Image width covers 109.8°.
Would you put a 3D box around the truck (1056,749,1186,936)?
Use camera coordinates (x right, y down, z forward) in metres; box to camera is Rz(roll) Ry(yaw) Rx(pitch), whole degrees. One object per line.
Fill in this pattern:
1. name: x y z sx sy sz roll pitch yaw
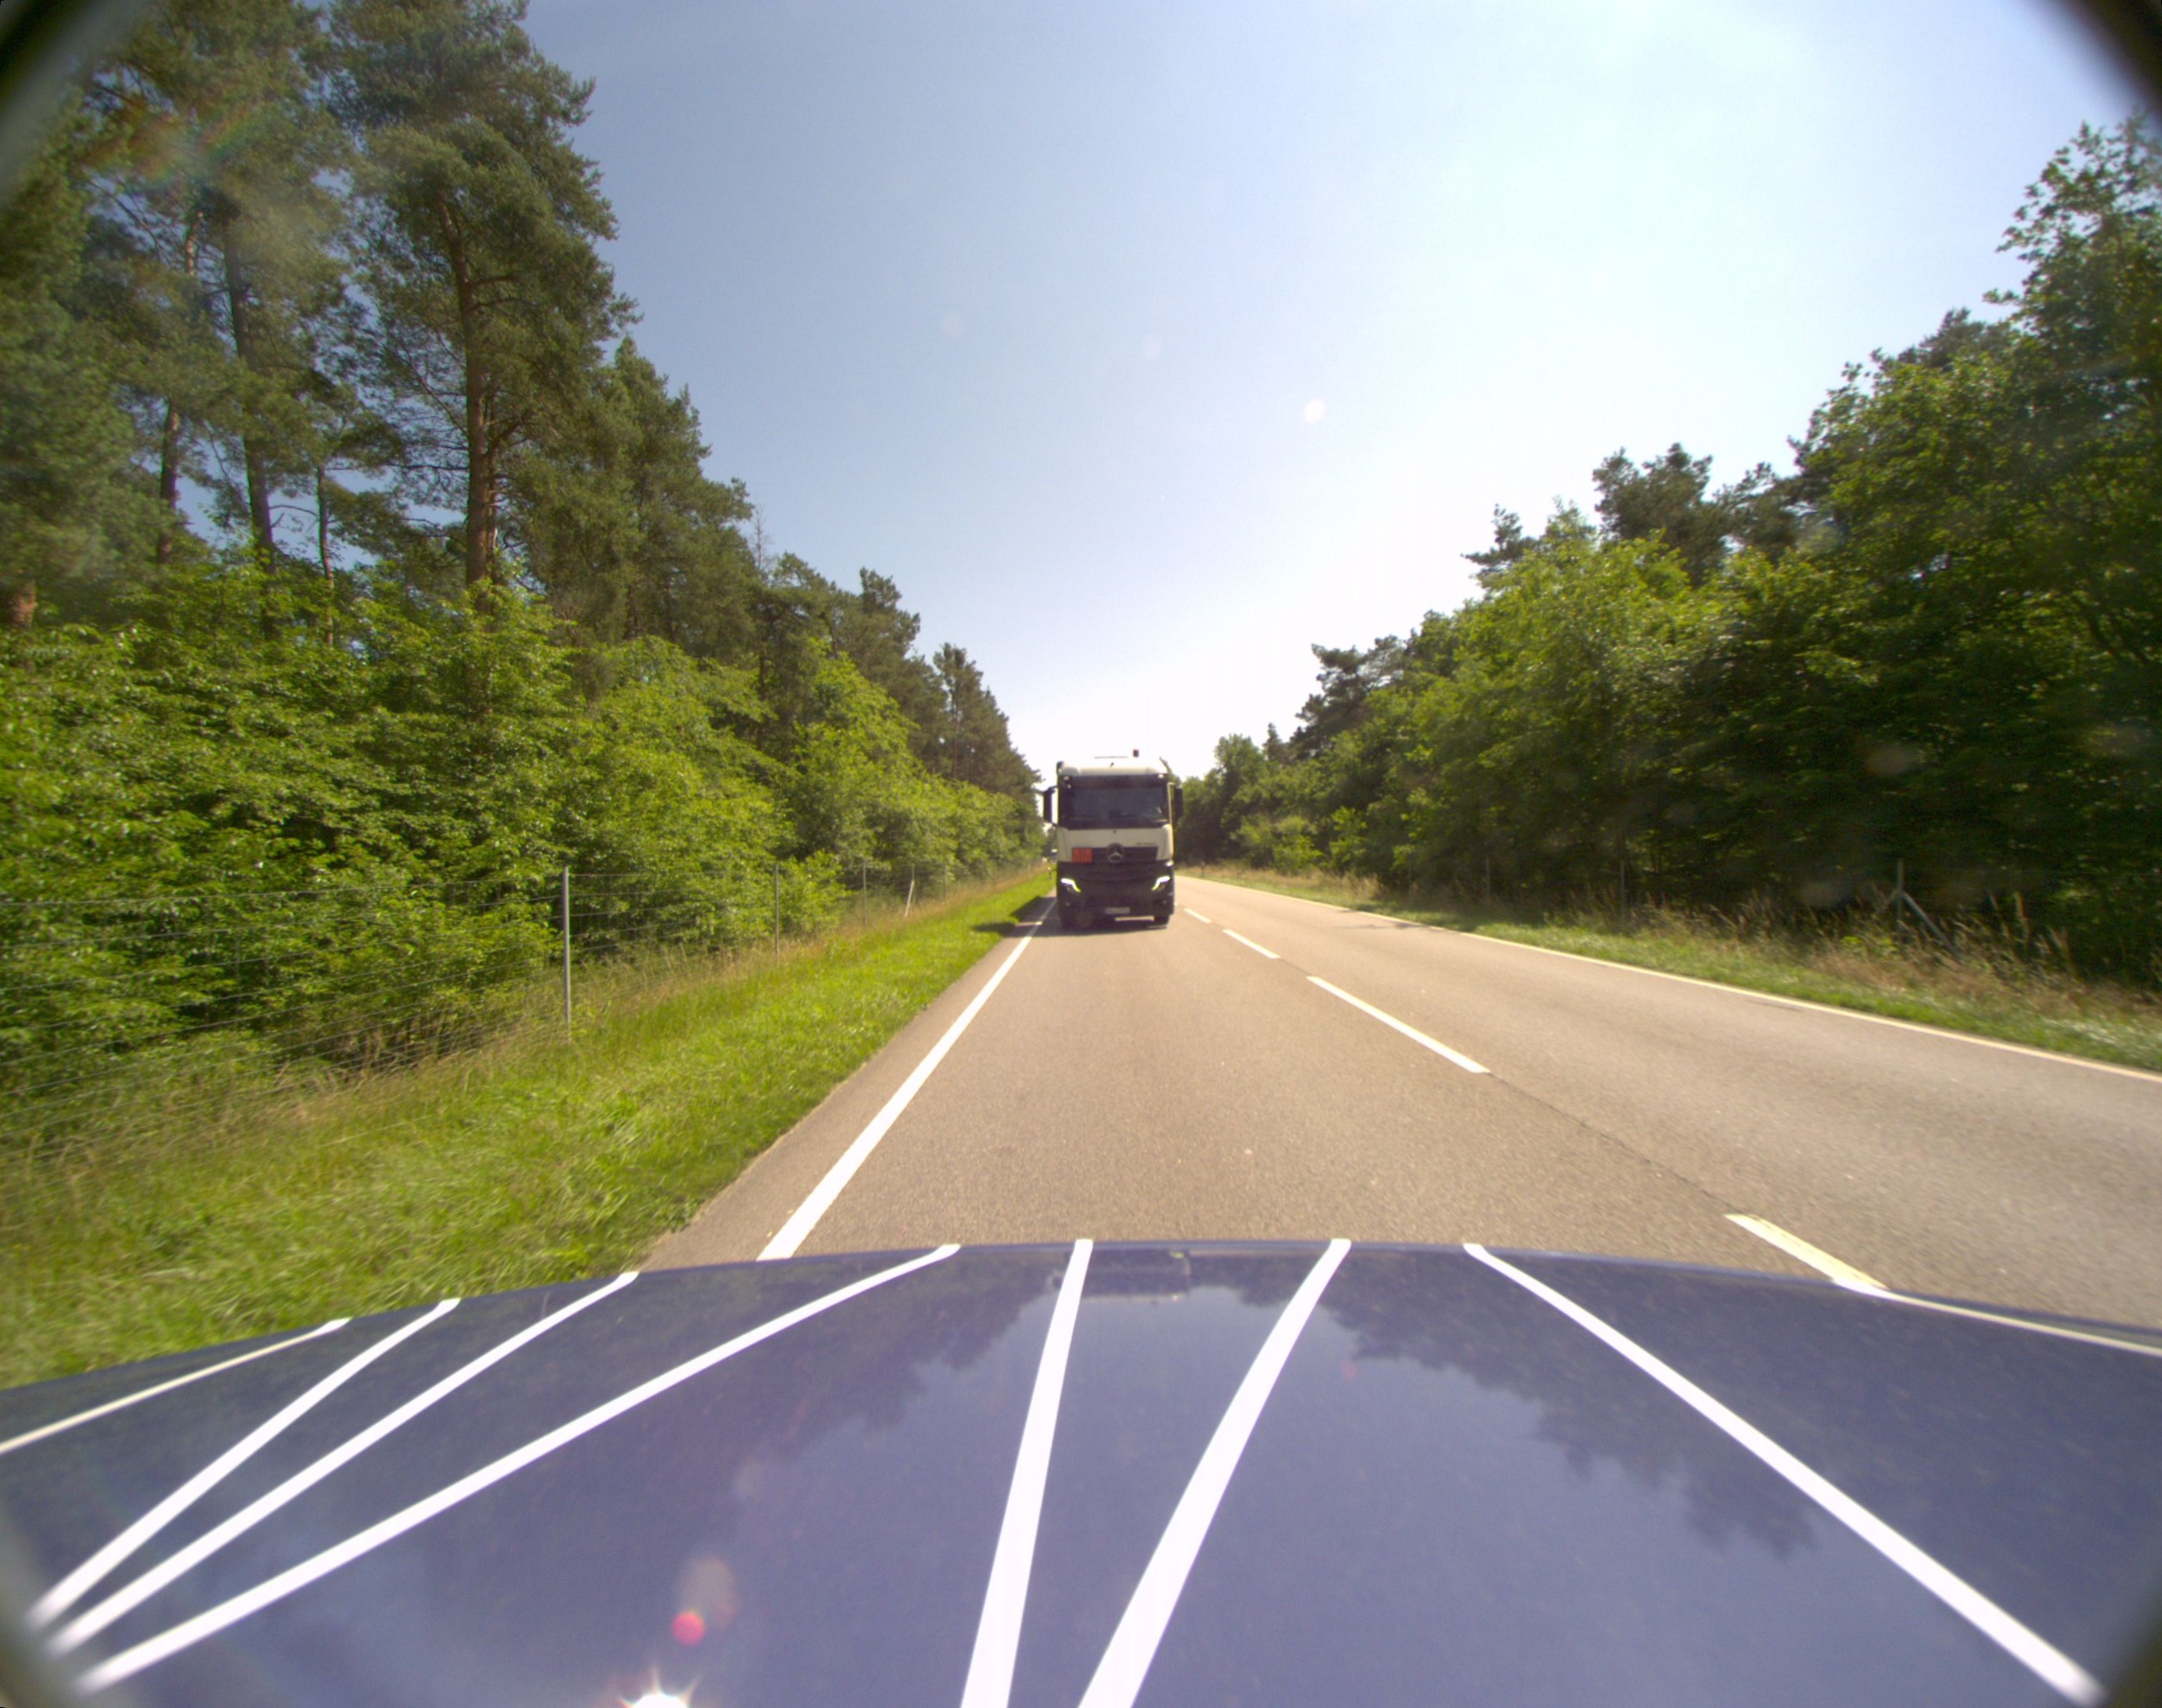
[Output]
1. truck: 0.849 -0.219 18.593 2.435 3.672 6.457 -3 0 1

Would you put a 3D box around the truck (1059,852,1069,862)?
1. truck: -4.528 0.809 204.156 2.494 2.442 6.103 -1 0 0

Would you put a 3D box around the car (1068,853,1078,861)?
1. car: -1.668 0.630 152.779 1.885 1.462 3.999 -1 0 -3

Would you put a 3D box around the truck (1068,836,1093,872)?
1. truck: -0.094 0.005 81.931 2.494 3.619 6.103 -2 0 0

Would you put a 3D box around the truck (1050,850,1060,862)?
1. truck: -8.134 0.544 240.545 2.495 3.619 6.099 -1 0 -7
